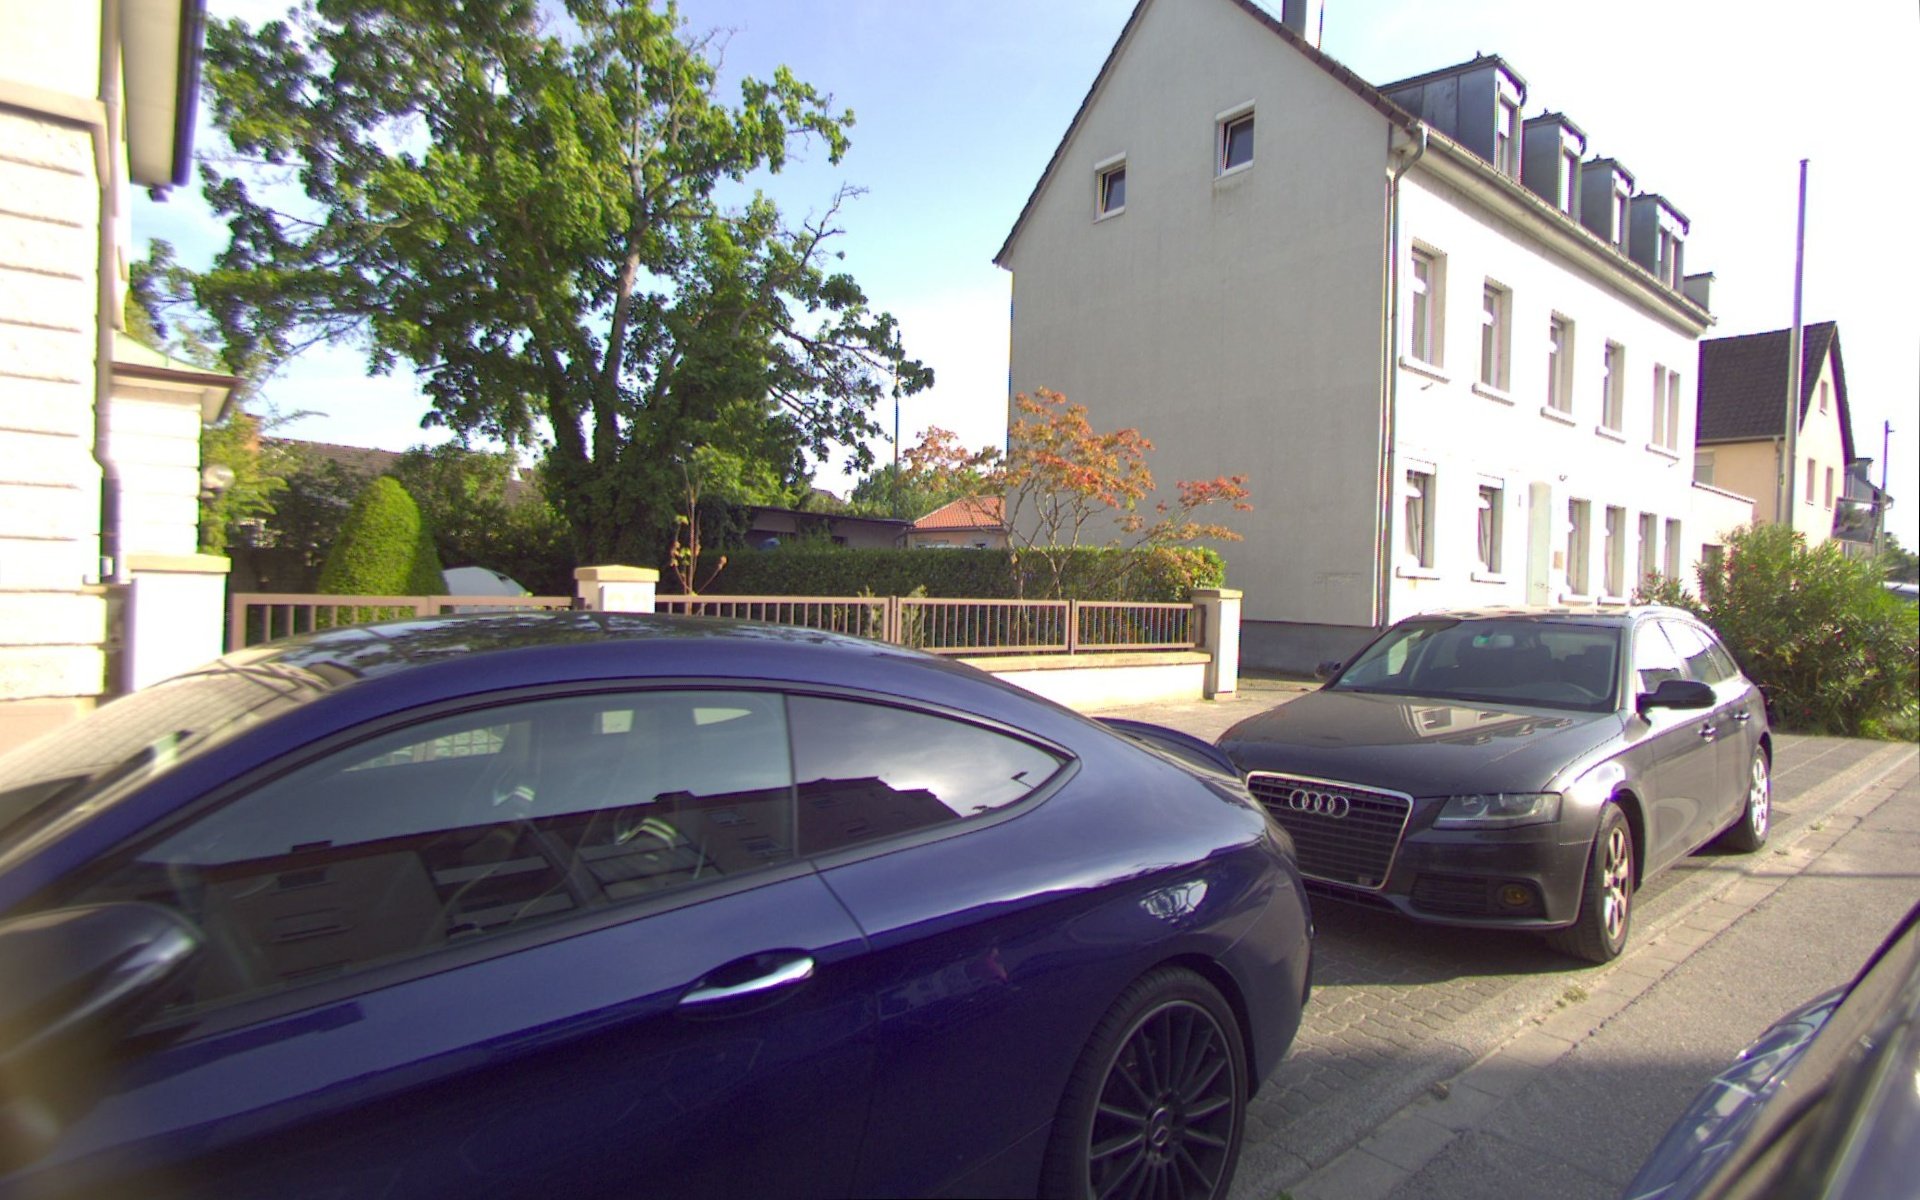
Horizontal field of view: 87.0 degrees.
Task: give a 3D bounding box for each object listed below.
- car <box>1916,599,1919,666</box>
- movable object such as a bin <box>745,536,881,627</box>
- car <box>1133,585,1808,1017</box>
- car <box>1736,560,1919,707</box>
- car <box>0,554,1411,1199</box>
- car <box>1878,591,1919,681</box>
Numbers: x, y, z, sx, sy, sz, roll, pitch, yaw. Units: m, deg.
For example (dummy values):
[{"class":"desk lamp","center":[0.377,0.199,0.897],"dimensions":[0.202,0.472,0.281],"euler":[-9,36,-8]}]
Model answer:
[{"class":"car","center":[22.474,0.576,22.100],"dimensions":[4.398,1.704,1.816],"euler":[0,2,-41]},{"class":"movable object such as a bin","center":[-3.301,-0.436,22.524],"dimensions":[1.940,1.861,2.568],"euler":[1,2,-38]},{"class":"car","center":[3.070,0.684,5.571],"dimensions":[4.417,1.438,1.782],"euler":[0,1,-41]},{"class":"car","center":[13.757,0.440,15.295],"dimensions":[4.525,1.879,2.082],"euler":[1,2,-38]},{"class":"car","center":[-1.136,0.654,1.926],"dimensions":[4.527,1.437,1.834],"euler":[0,2,-40]},{"class":"car","center":[18.550,0.642,18.816],"dimensions":[4.533,1.547,1.592],"euler":[0,3,-41]}]
